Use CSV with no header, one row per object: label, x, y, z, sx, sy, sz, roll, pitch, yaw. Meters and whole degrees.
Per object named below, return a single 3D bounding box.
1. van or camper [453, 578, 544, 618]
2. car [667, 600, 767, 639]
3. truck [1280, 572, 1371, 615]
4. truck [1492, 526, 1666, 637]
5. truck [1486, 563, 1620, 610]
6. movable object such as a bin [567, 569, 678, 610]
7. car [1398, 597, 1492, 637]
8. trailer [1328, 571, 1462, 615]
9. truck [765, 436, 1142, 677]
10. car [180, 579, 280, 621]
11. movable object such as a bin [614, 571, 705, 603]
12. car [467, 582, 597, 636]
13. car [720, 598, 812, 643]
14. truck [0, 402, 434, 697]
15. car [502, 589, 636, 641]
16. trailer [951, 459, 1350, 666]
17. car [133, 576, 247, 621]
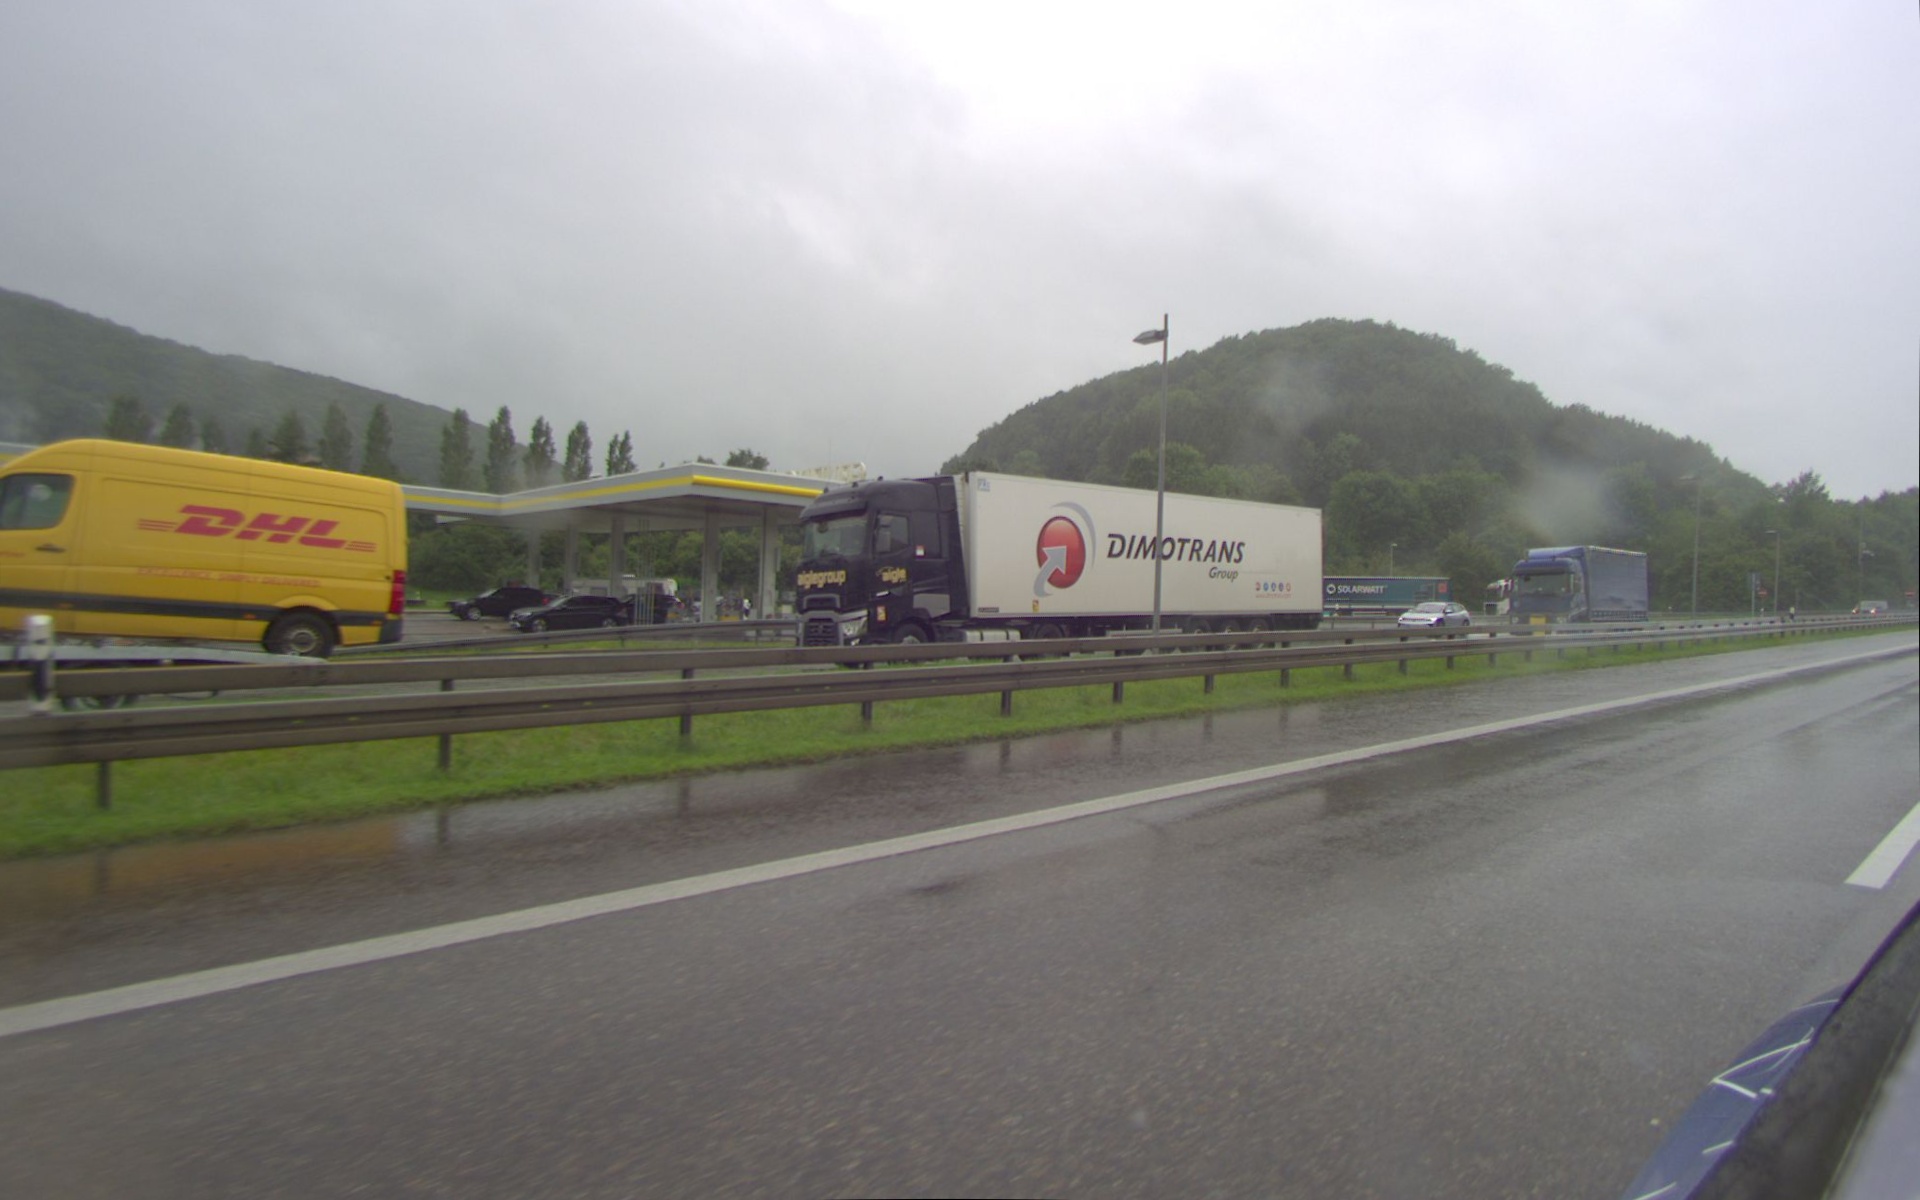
van or camper,-24.120,-0.106,52.926,3.930,2.039,1.997,0,0,-41
car,-11.147,0.853,46.524,4.023,1.719,1.998,0,0,-38
truck,33.685,-0.621,93.484,7.383,3.916,2.760,0,0,-6
truck,27.992,-0.718,45.460,10.852,4.459,3.407,0,-1,-40
truck,56.215,-1.289,95.995,11.630,4.310,2.884,0,0,-7
movable object such as a bin,-18.984,-0.575,57.135,5.625,2.217,1.997,0,0,-41
car,23.083,0.774,48.092,5.564,1.772,1.997,0,0,-41
trailer,40.401,-0.679,94.140,11.514,3.950,2.796,0,0,-6
truck,0.059,-0.796,21.847,7.677,4.273,3.534,0,0,-40
car,-37.276,0.012,51.733,3.934,2.039,1.995,0,-1,-44
movable object such as a bin,-19.661,-0.840,66.350,5.289,2.039,2.170,0,0,-41
car,-18.485,0.368,43.791,4.807,2.210,2.084,0,0,-41
car,-9.310,0.940,48.635,3.930,2.039,1.964,0,0,-41
truck,-11.153,-0.544,11.758,8.703,3.187,2.296,0,0,-39
car,-16.190,0.590,42.054,4.815,2.039,1.997,0,0,-41
trailer,5.403,-0.811,26.249,11.707,4.315,3.523,0,0,-40
car,-36.573,-0.055,48.125,1.988,2.039,3.948,-1,-1,36
